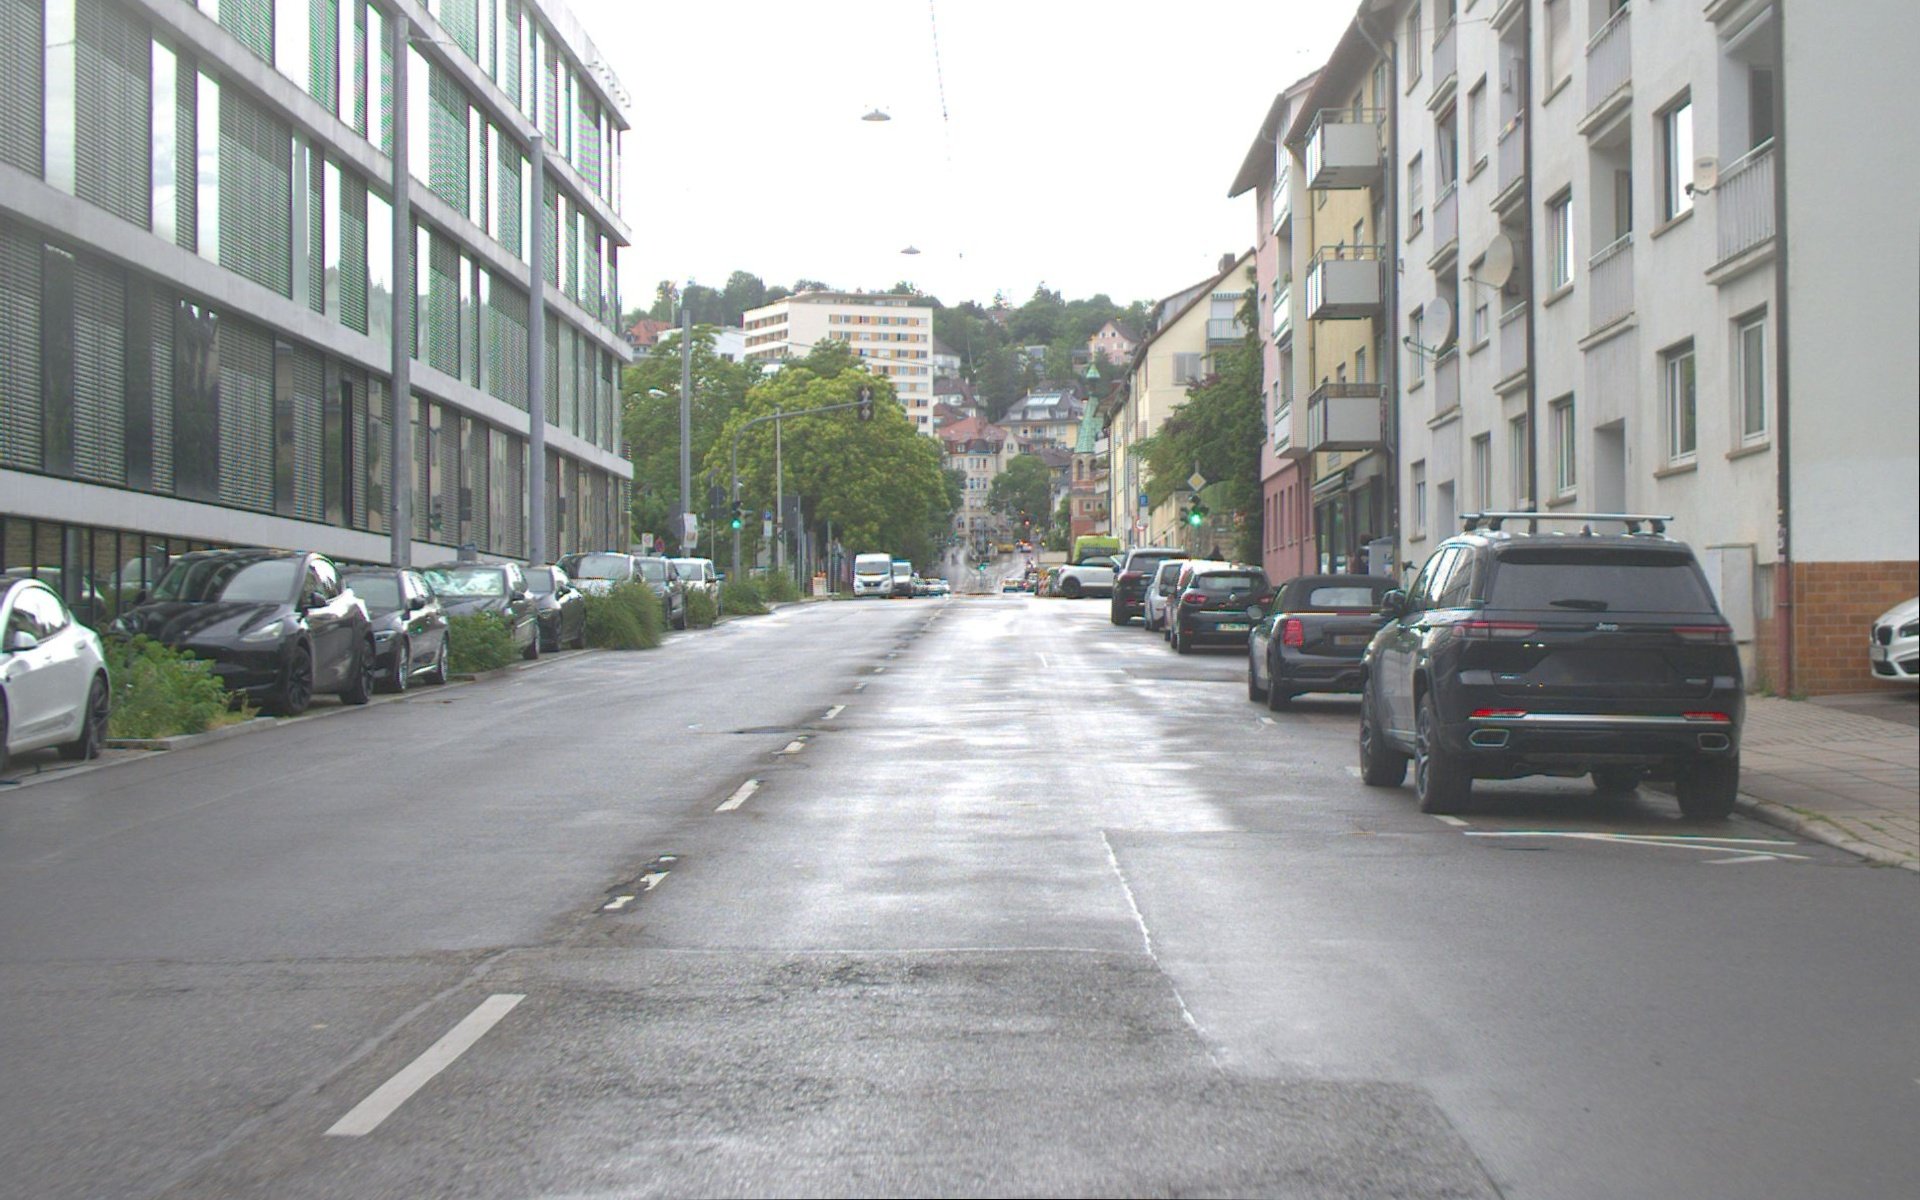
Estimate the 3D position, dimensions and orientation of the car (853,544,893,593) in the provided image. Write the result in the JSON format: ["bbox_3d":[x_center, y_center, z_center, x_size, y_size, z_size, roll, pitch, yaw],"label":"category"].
[{"bbox_3d":[-4.699,-1.714,185.323,2.105,2.537,4.751,1,1,-1],"label":"car"}]

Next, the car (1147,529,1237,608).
[{"bbox_3d":[4.785,-0.664,71.342,1.635,1.566,3.711,1,1,1],"label":"car"}]

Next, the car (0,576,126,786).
[{"bbox_3d":[-7.572,0.555,25.088,1.821,1.414,4.402,1,1,1],"label":"car"}]

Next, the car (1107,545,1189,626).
[{"bbox_3d":[4.235,-0.353,77.957,1.655,1.732,4.180,0,2,0],"label":"car"}]

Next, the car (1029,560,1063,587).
[{"bbox_3d":[5.186,-1.619,207.730,1.867,1.598,4.189,1,1,4],"label":"car"}]

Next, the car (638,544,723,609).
[{"bbox_3d":[-6.759,-0.588,83.474,1.595,1.454,3.719,1,2,2],"label":"car"}]

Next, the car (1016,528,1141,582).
[{"bbox_3d":[4.101,-1.534,119.256,4.201,1.663,1.637,-2,-4,40],"label":"car"}]

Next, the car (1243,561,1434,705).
[{"bbox_3d":[4.084,0.325,37.601,1.673,1.454,3.764,0,1,0],"label":"car"}]

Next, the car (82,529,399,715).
[{"bbox_3d":[-7.263,0.164,35.224,1.963,1.744,4.941,1,1,3],"label":"car"}]

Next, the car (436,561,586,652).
[{"bbox_3d":[-7.382,0.074,56.876,1.837,1.391,4.392,1,1,1],"label":"car"}]

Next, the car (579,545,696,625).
[{"bbox_3d":[-6.776,-0.327,72.545,1.802,1.598,4.233,1,1,4],"label":"car"}]

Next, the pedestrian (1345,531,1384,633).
[{"bbox_3d":[7.442,-0.333,63.300,0.639,1.864,0.538,1,1,3],"label":"pedestrian"}]

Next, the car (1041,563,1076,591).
[{"bbox_3d":[5.717,-1.349,199.549,1.867,1.598,4.189,1,1,4],"label":"car"}]

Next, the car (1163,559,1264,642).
[{"bbox_3d":[4.585,-0.012,62.608,1.582,1.409,3.654,1,1,1],"label":"car"}]

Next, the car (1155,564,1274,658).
[{"bbox_3d":[4.203,0.158,57.243,1.706,1.449,3.985,1,1,1],"label":"car"}]

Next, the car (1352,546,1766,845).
[{"bbox_3d":[3.859,0.532,22.972,1.935,1.744,4.797,1,1,1],"label":"car"}]

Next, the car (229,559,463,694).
[{"bbox_3d":[-7.278,0.271,41.179,1.871,1.467,4.741,1,1,1],"label":"car"}]

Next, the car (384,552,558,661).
[{"bbox_3d":[-7.131,0.060,50.523,1.863,1.484,4.347,1,1,1],"label":"car"}]

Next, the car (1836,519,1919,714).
[{"bbox_3d":[10.494,0.039,31.405,4.438,1.707,1.905,-3,1,0],"label":"car"}]
